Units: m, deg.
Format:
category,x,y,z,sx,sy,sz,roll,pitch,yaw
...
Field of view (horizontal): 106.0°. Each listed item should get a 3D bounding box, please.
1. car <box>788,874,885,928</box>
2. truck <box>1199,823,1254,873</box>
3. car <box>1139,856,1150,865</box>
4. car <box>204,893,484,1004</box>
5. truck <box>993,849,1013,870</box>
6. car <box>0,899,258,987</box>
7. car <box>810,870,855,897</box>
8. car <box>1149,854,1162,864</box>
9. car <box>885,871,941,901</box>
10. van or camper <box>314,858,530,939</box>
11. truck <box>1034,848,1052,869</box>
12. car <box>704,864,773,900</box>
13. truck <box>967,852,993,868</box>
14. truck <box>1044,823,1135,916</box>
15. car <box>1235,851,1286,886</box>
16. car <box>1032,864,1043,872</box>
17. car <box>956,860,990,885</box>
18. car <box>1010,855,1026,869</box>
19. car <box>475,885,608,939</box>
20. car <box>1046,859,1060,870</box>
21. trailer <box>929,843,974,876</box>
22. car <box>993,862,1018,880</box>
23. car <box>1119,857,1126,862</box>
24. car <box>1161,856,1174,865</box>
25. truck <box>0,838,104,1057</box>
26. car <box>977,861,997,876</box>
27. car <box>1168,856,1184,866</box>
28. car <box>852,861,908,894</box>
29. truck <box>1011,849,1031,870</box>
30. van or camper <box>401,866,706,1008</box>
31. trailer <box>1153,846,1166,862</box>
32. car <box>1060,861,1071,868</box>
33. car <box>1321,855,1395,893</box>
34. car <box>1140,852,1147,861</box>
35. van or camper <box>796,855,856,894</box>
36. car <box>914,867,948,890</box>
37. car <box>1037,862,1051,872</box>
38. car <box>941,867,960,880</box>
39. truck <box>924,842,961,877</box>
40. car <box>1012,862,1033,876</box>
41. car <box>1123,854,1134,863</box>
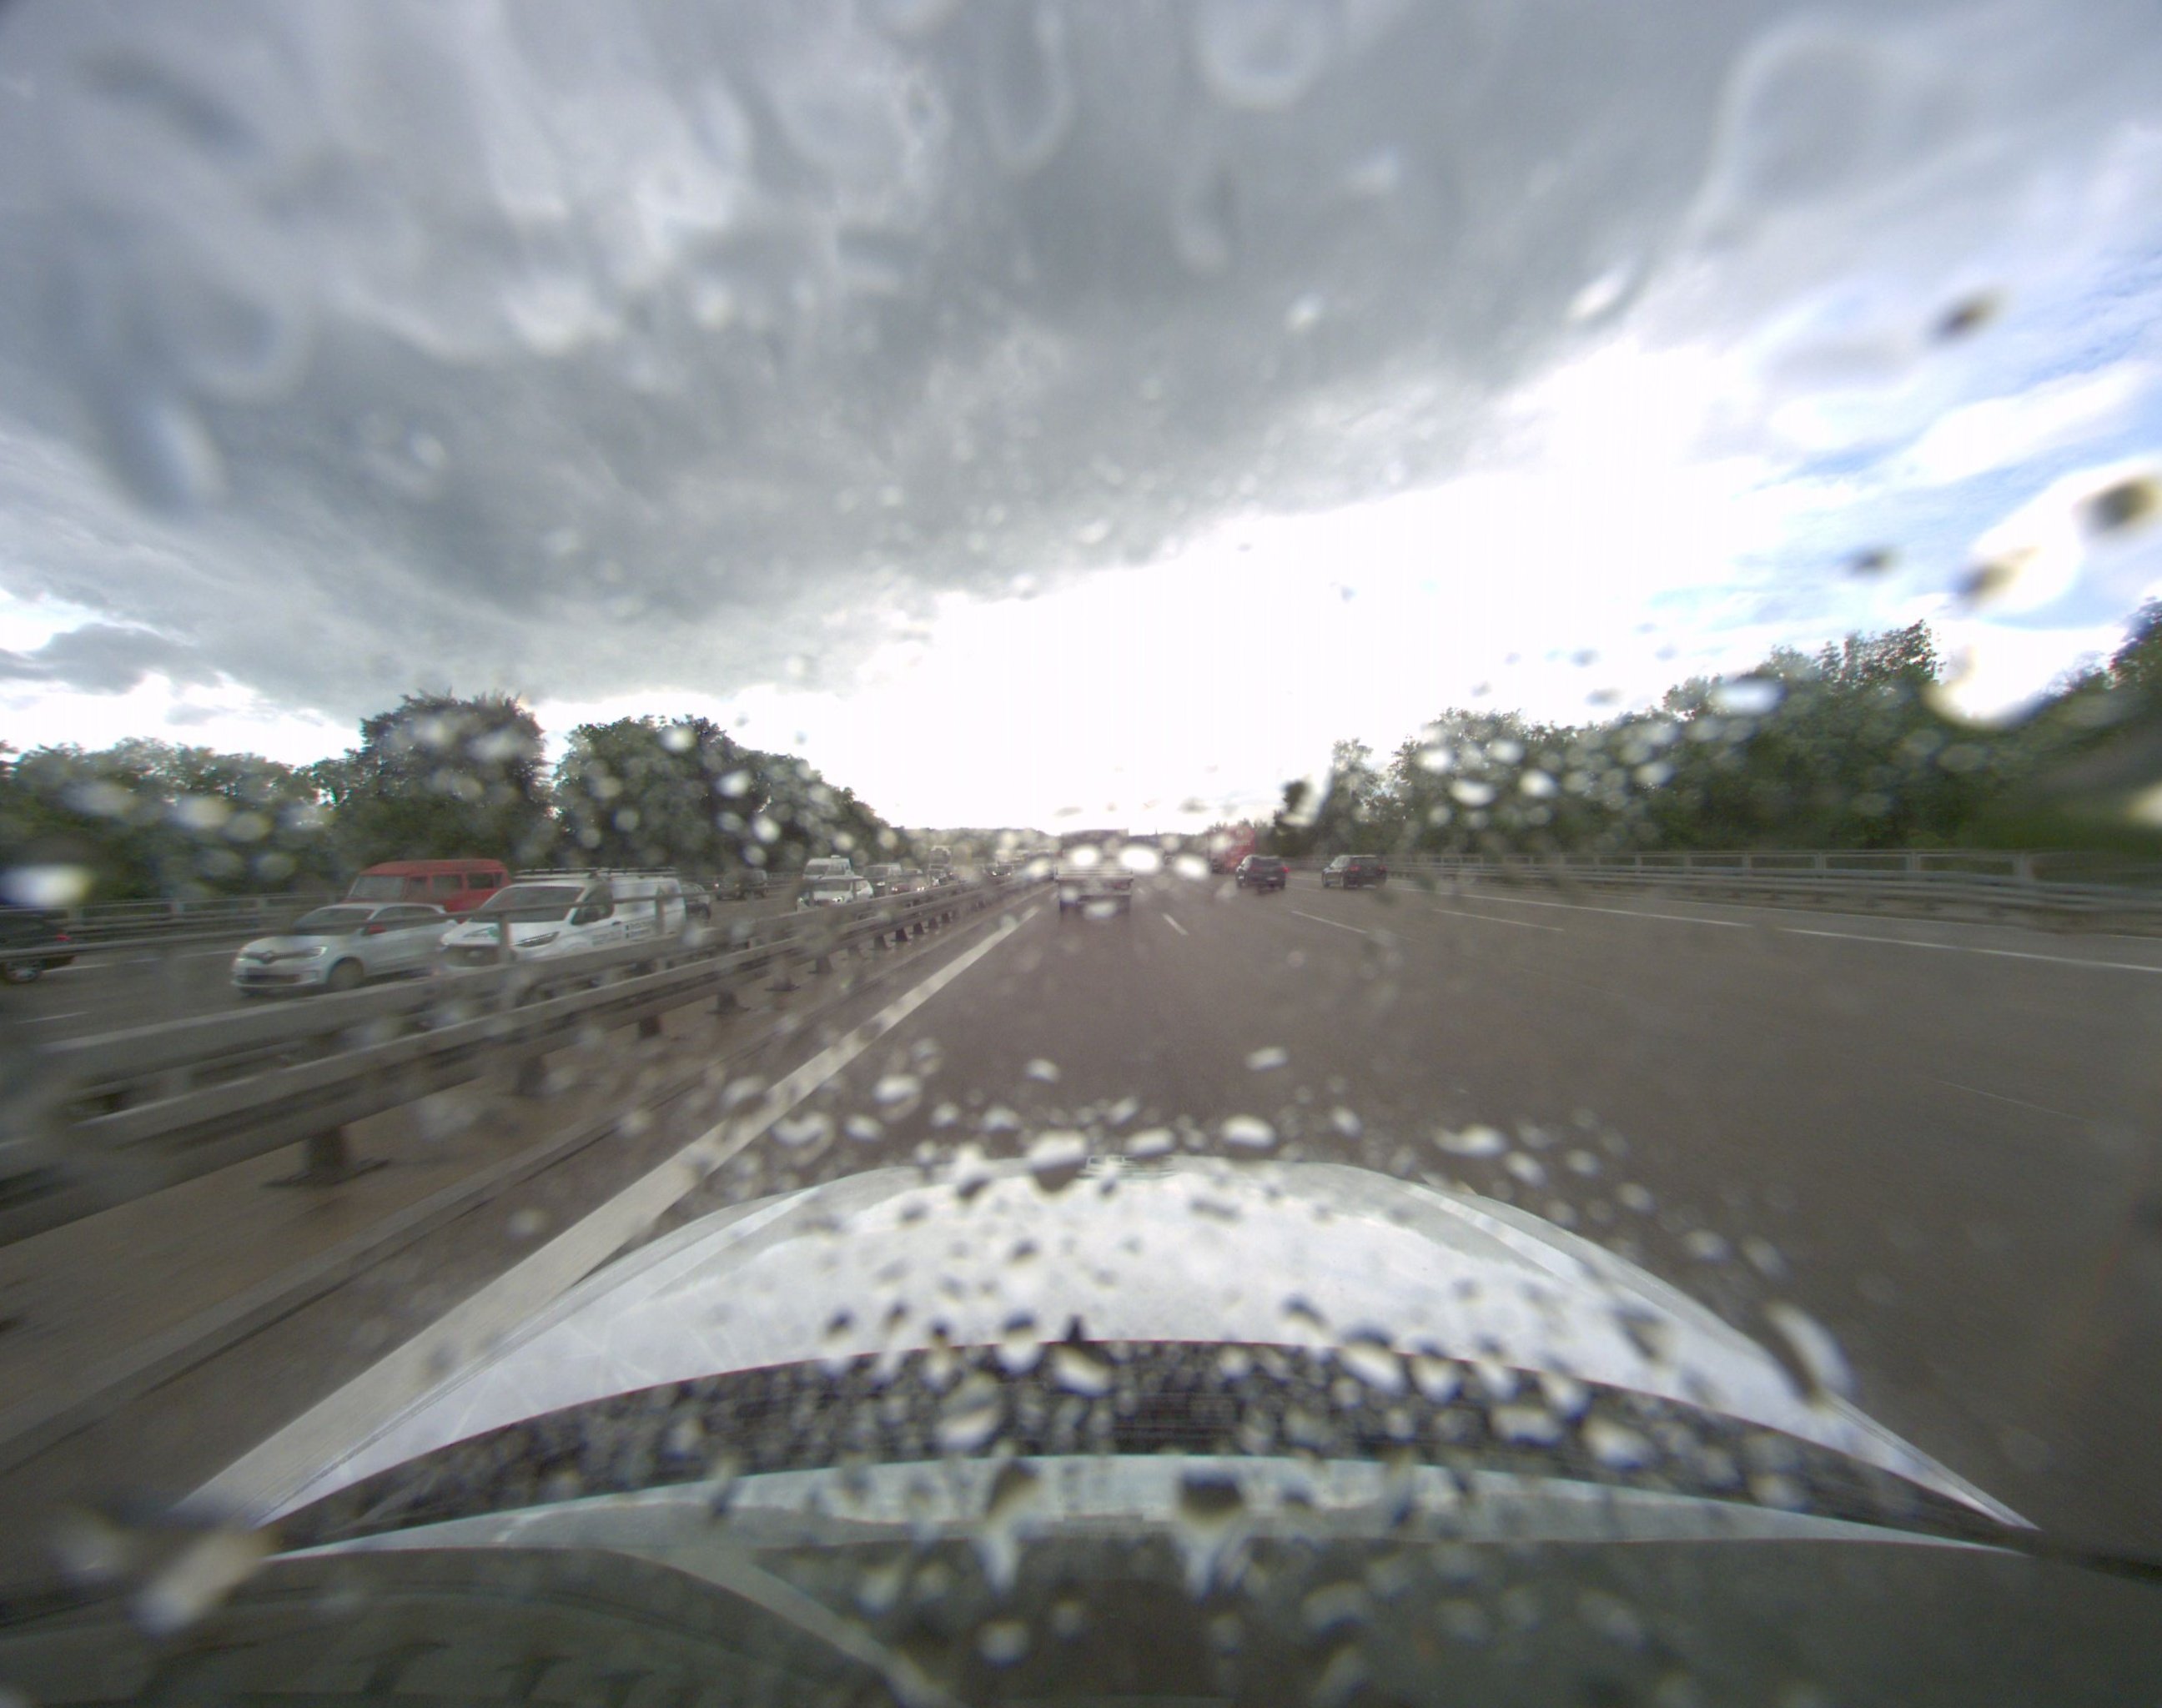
category,x,y,z,sx,sy,sz,roll,pitch,yaw
car,-9.097,1.677,30.859,1.818,1.675,5.361,-2,0,2
truck,13.074,-0.511,74.717,3.139,4.003,15.651,-1,0,4
car,12.864,1.351,166.339,2.037,1.699,4.002,-1,0,2
car,-13.776,1.673,15.603,1.671,1.636,3.999,-2,0,0
truck,-15.835,1.126,165.561,2.746,3.994,6.584,-2,0,4
car,-21.559,1.884,18.229,1.480,1.475,4.612,-2,0,1
car,-16.247,1.884,53.395,1.671,1.579,3.999,-2,0,0
car,13.445,0.850,147.598,2.090,1.699,4.001,-1,0,1
car,-8.965,1.681,43.934,1.867,1.392,5.364,-2,0,0
van or camper,-21.444,1.332,27.016,1.933,2.305,6.235,-2,-1,1
truck,-7.858,1.015,169.645,2.869,4.180,7.561,-2,0,2
car,-20.752,1.655,49.573,2.070,1.945,4.759,-2,0,0
truck,-16.571,0.984,134.162,2.670,2.371,9.280,-2,0,3
truck,0.286,0.411,24.887,2.344,2.408,7.359,-1,0,1
car,8.359,0.665,38.192,1.785,1.562,3.725,-1,-1,3
car,-8.199,2.574,152.860,1.595,1.387,4.103,-2,0,2
car,-8.491,1.409,64.424,1.860,1.826,5.708,-2,0,0
car,-11.760,1.561,152.681,2.147,2.504,6.777,-2,0,3
car,-18.122,1.894,27.586,1.784,1.501,3.999,-2,0,0
car,-4.656,1.791,137.218,1.906,1.766,5.335,-2,0,2
trailer,-17.834,0.772,113.674,3.234,4.228,14.518,-2,0,3
car,-7.366,1.644,79.852,1.861,1.669,5.173,-2,0,0
car,12.224,1.702,238.350,1.805,1.446,4.001,-2,0,1
car,16.980,1.242,160.256,2.038,1.699,5.008,-1,0,1
truck,-13.927,1.137,6.279,2.139,2.602,8.755,-2,0,0
car,-11.171,1.704,96.676,1.774,1.612,4.576,-2,0,0
car,16.045,1.163,137.637,2.097,1.605,5.066,-1,0,1
car,-12.404,1.417,50.650,1.885,1.902,5.006,-2,-1,3
truck,-12.030,1.142,164.688,2.891,4.147,7.109,-2,0,4
van or camper,-9.517,1.337,15.513,1.976,2.068,5.644,-2,0,1
trailer,20.978,0.097,217.945,3.317,4.176,11.852,-1,0,4
car,-3.234,2.162,169.068,1.915,1.419,5.167,-2,0,2
car,12.064,0.818,35.713,1.808,1.543,4.358,-1,0,1
car,17.437,0.780,227.374,2.036,2.498,4.004,-1,0,4
van or camper,-19.510,1.484,62.668,2.194,2.765,7.231,-2,0,0
car,-11.991,1.938,65.481,1.857,1.612,4.462,-2,0,0
car,-5.491,1.908,120.453,1.756,1.383,4.821,-2,0,1
car,-14.738,2.196,92.113,1.443,1.300,3.999,-2,0,0
truck,-18.152,0.729,107.098,3.234,4.250,6.886,-2,0,2
car,-6.699,1.652,93.168,1.988,1.463,4.841,-2,0,0
car,9.841,0.930,168.243,1.965,1.699,4.001,-1,0,1
